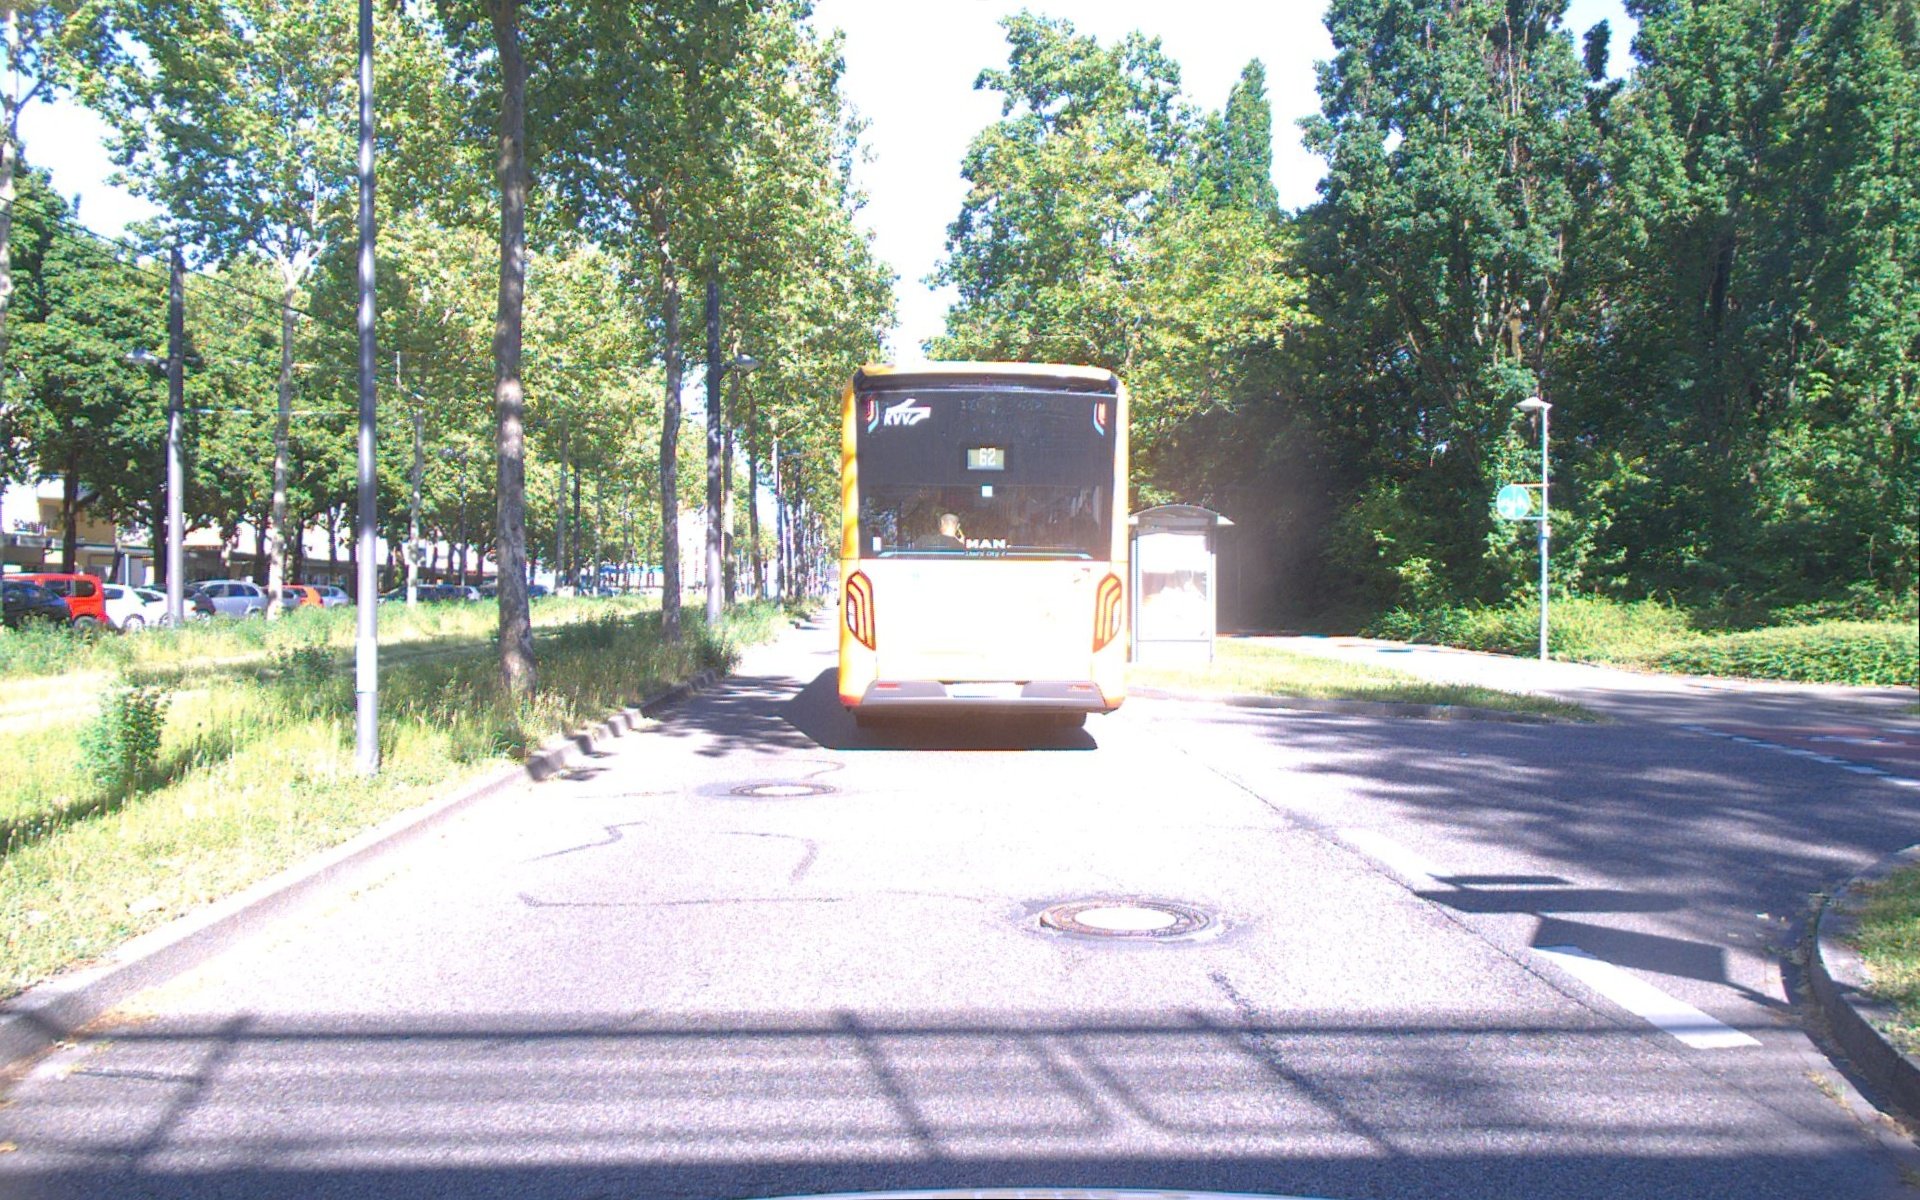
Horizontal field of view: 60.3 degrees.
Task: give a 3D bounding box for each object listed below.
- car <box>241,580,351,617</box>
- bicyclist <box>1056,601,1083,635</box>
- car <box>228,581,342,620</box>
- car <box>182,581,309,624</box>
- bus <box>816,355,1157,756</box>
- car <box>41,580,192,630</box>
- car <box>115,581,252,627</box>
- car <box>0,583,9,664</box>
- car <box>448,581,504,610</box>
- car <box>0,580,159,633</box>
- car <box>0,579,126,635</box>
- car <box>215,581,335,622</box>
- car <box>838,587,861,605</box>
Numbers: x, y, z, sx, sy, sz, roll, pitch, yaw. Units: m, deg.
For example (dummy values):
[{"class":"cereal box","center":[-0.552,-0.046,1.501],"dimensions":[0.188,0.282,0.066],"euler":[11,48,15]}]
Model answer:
[{"class":"car","center":[-28.275,-0.072,70.502],"dimensions":[1.768,1.536,3.975],"euler":[0,1,42]},{"class":"bicyclist","center":[5.553,0.887,83.744],"dimensions":[1.157,1.690,1.027],"euler":[0,0,-10]},{"class":"car","center":[-27.602,-0.003,67.734],"dimensions":[1.768,1.536,3.975],"euler":[0,1,42]},{"class":"car","center":[-26.326,0.069,61.025],"dimensions":[1.768,1.536,3.975],"euler":[0,1,42]},{"class":"bus","center":[0.047,-0.426,19.872],"dimensions":[2.841,3.324,12.214],"euler":[0,0,-2]},{"class":"car","center":[-27.021,0.134,53.045],"dimensions":[1.768,1.536,3.975],"euler":[0,1,42]},{"class":"car","center":[-26.740,0.110,57.025],"dimensions":[3.970,1.536,1.771],"euler":[-1,1,-45]},{"class":"car","center":[-18.921,0.473,29.192],"dimensions":[1.758,1.536,4.672],"euler":[0,1,-3]},{"class":"car","center":[-26.360,-0.246,90.157],"dimensions":[1.757,1.536,4.001],"euler":[0,1,2]},{"class":"car","center":[-26.569,0.156,49.896],"dimensions":[1.768,1.536,3.975],"euler":[0,1,42]},{"class":"car","center":[-26.048,0.181,46.840],"dimensions":[1.768,1.536,3.975],"euler":[0,1,42]},{"class":"car","center":[-26.693,0.027,64.530],"dimensions":[1.768,1.536,3.975],"euler":[0,1,42]},{"class":"car","center":[-11.265,-0.446,168.374],"dimensions":[1.946,1.672,4.134],"euler":[3,1,0]}]
